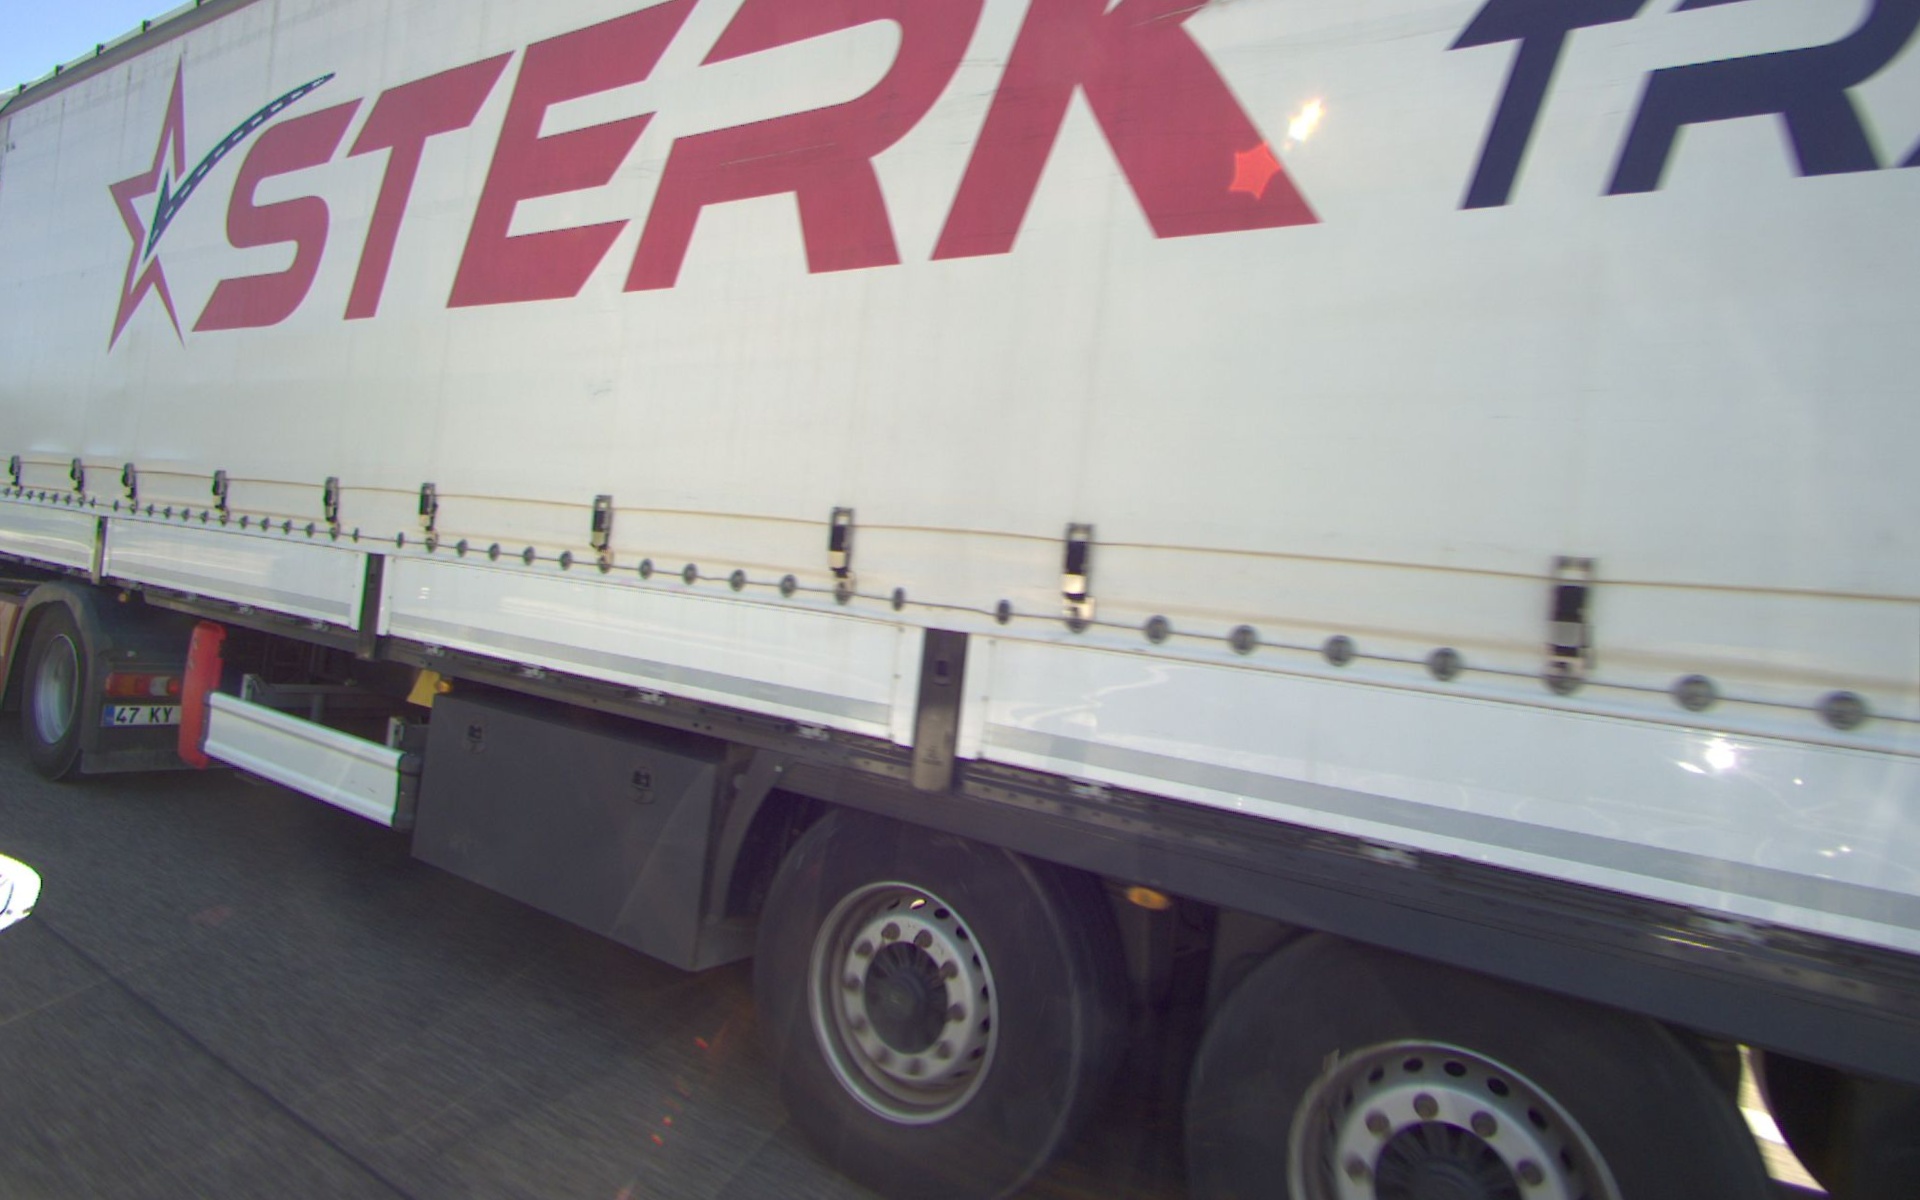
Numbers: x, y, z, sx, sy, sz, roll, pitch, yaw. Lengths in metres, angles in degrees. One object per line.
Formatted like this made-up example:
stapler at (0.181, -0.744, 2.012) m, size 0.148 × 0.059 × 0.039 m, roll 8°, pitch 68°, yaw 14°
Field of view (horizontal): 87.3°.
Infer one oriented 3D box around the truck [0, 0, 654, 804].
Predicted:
truck at (-5.989, -1.273, 7.727) m, size 6.850 × 4.135 × 2.712 m, roll 6°, pitch -2°, yaw 32°

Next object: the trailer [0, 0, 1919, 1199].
trailer at (-0.831, -0.659, 4.516) m, size 13.916 × 4.135 × 2.713 m, roll 6°, pitch -2°, yaw 32°
